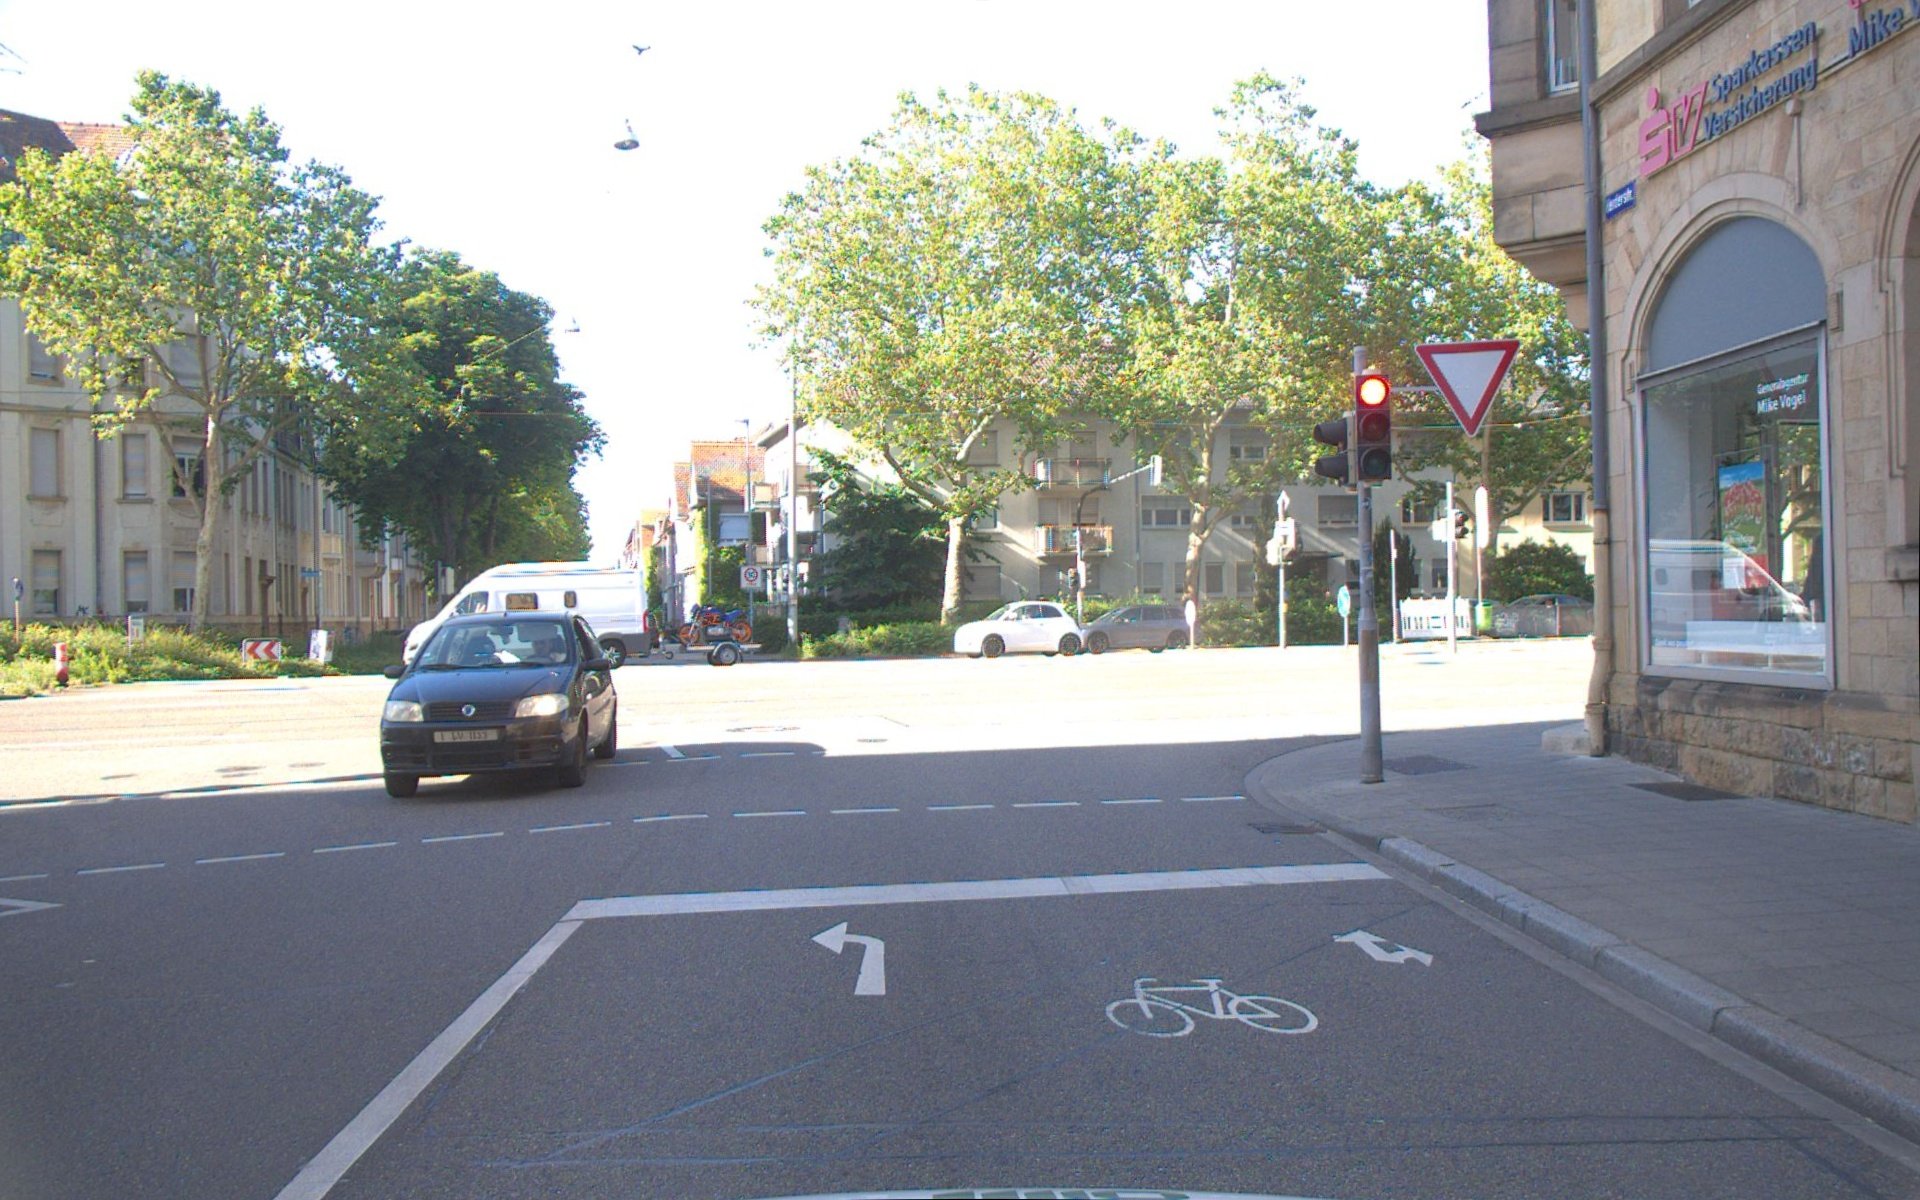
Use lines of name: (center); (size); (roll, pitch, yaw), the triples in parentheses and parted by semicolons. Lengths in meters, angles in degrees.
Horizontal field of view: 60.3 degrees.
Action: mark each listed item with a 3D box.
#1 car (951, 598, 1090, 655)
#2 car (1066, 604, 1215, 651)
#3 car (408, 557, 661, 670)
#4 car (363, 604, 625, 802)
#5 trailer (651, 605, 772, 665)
car: (1.688, 0.711, 45.989); (3.579, 1.483, 1.494); (-1, 0, -21)
car: (5.593, 0.834, 51.129); (4.323, 1.339, 1.636); (-1, 0, -21)
car: (-10.711, 0.299, 41.646); (6.017, 2.683, 1.885); (-1, 0, -20)
car: (-3.951, 0.792, 14.554); (1.620, 1.483, 3.638); (-1, 0, -6)
trailer: (-6.513, 0.900, 43.248); (2.904, 1.483, 1.505); (-1, 0, -20)
